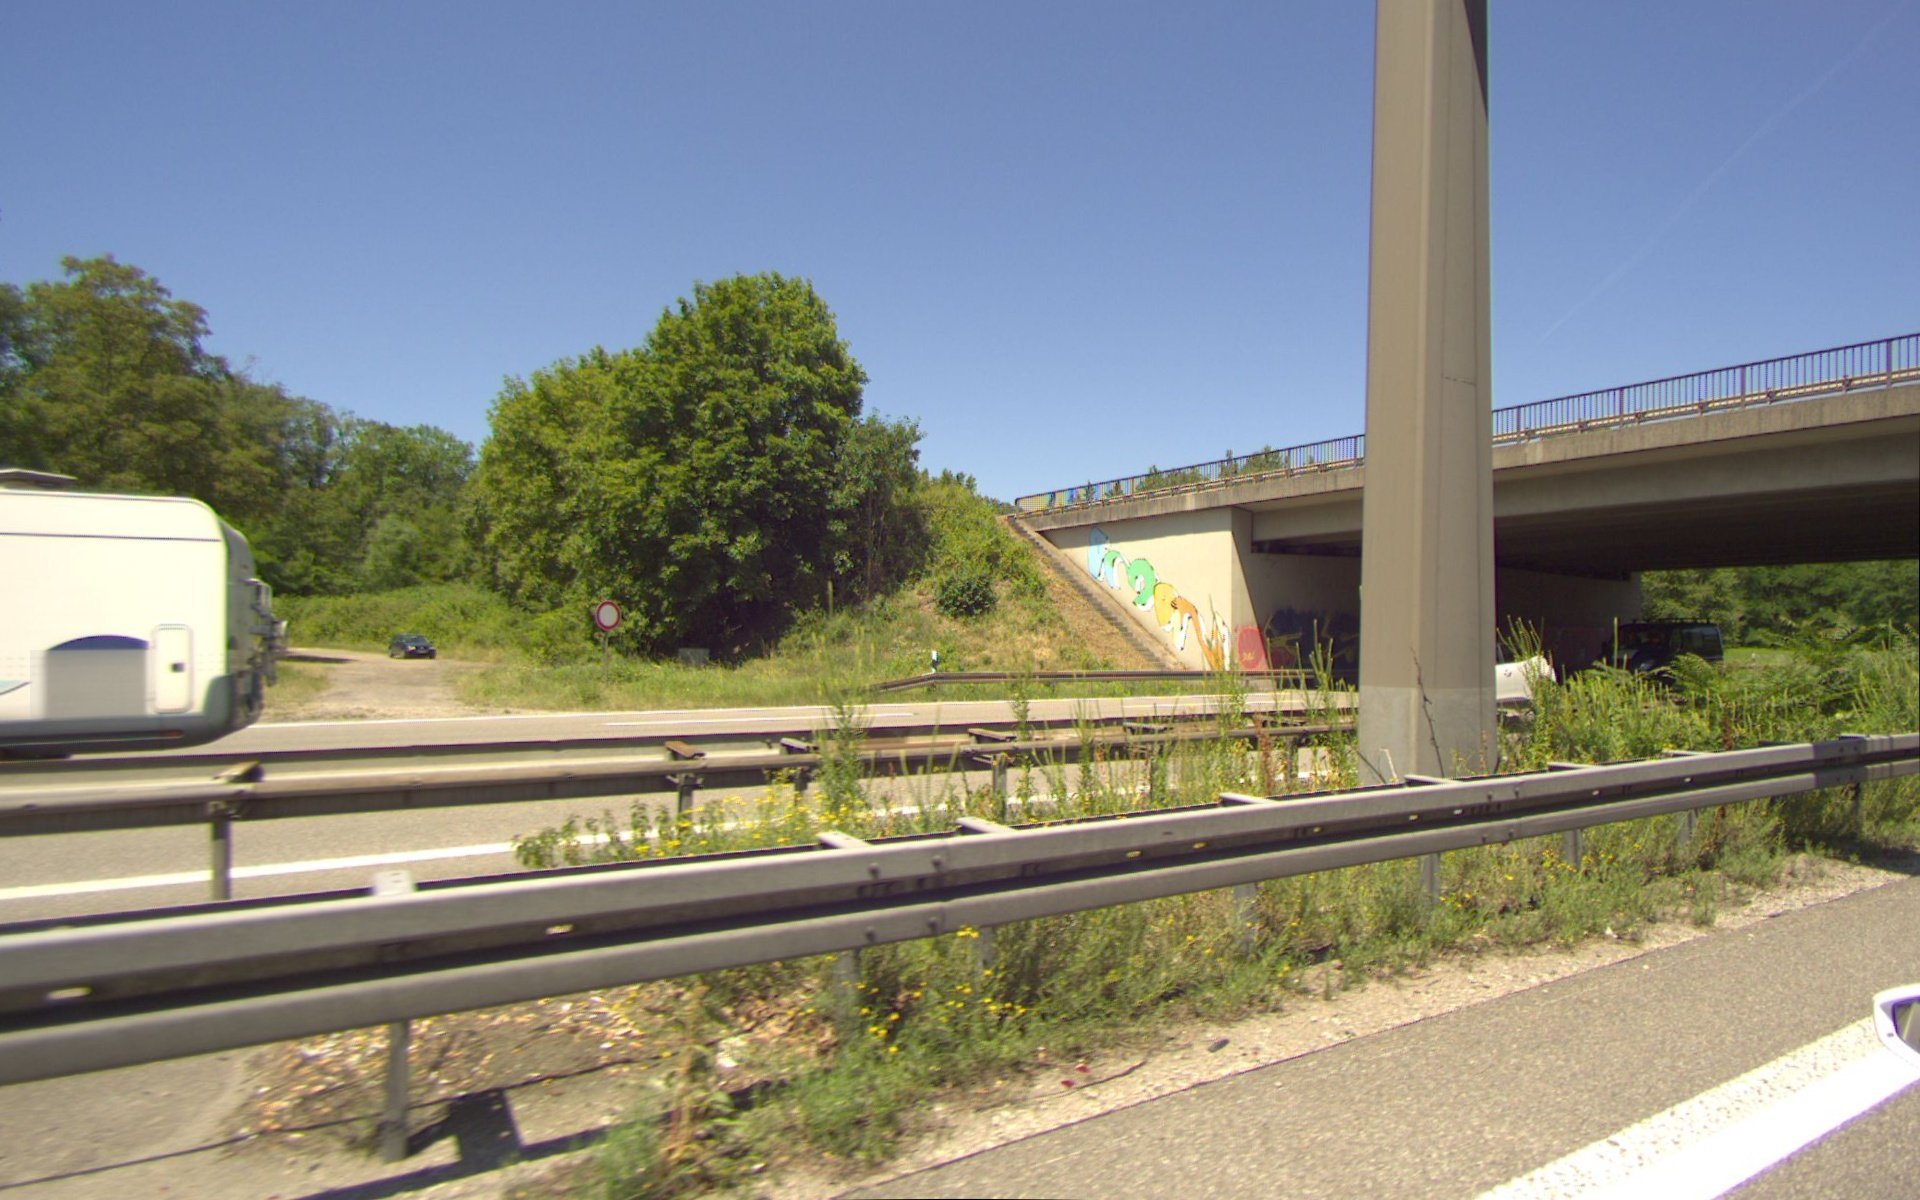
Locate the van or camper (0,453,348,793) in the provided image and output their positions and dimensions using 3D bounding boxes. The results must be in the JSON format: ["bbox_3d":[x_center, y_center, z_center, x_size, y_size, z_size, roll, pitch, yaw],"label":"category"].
[{"bbox_3d":[-9.919,0.209,9.257,7.149,2.944,2.581,2,-3,-30],"label":"van or camper"}]

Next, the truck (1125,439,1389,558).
[{"bbox_3d":[16.887,-5.587,59.599,3.145,5.639,16.343,2,0,-36],"label":"truck"}]

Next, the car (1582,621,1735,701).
[{"bbox_3d":[23.416,1.991,33.612,5.670,2.431,2.078,2,0,-32],"label":"car"}]

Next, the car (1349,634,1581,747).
[{"bbox_3d":[9.519,1.615,18.824,4.661,1.840,1.681,2,0,-32],"label":"car"}]
